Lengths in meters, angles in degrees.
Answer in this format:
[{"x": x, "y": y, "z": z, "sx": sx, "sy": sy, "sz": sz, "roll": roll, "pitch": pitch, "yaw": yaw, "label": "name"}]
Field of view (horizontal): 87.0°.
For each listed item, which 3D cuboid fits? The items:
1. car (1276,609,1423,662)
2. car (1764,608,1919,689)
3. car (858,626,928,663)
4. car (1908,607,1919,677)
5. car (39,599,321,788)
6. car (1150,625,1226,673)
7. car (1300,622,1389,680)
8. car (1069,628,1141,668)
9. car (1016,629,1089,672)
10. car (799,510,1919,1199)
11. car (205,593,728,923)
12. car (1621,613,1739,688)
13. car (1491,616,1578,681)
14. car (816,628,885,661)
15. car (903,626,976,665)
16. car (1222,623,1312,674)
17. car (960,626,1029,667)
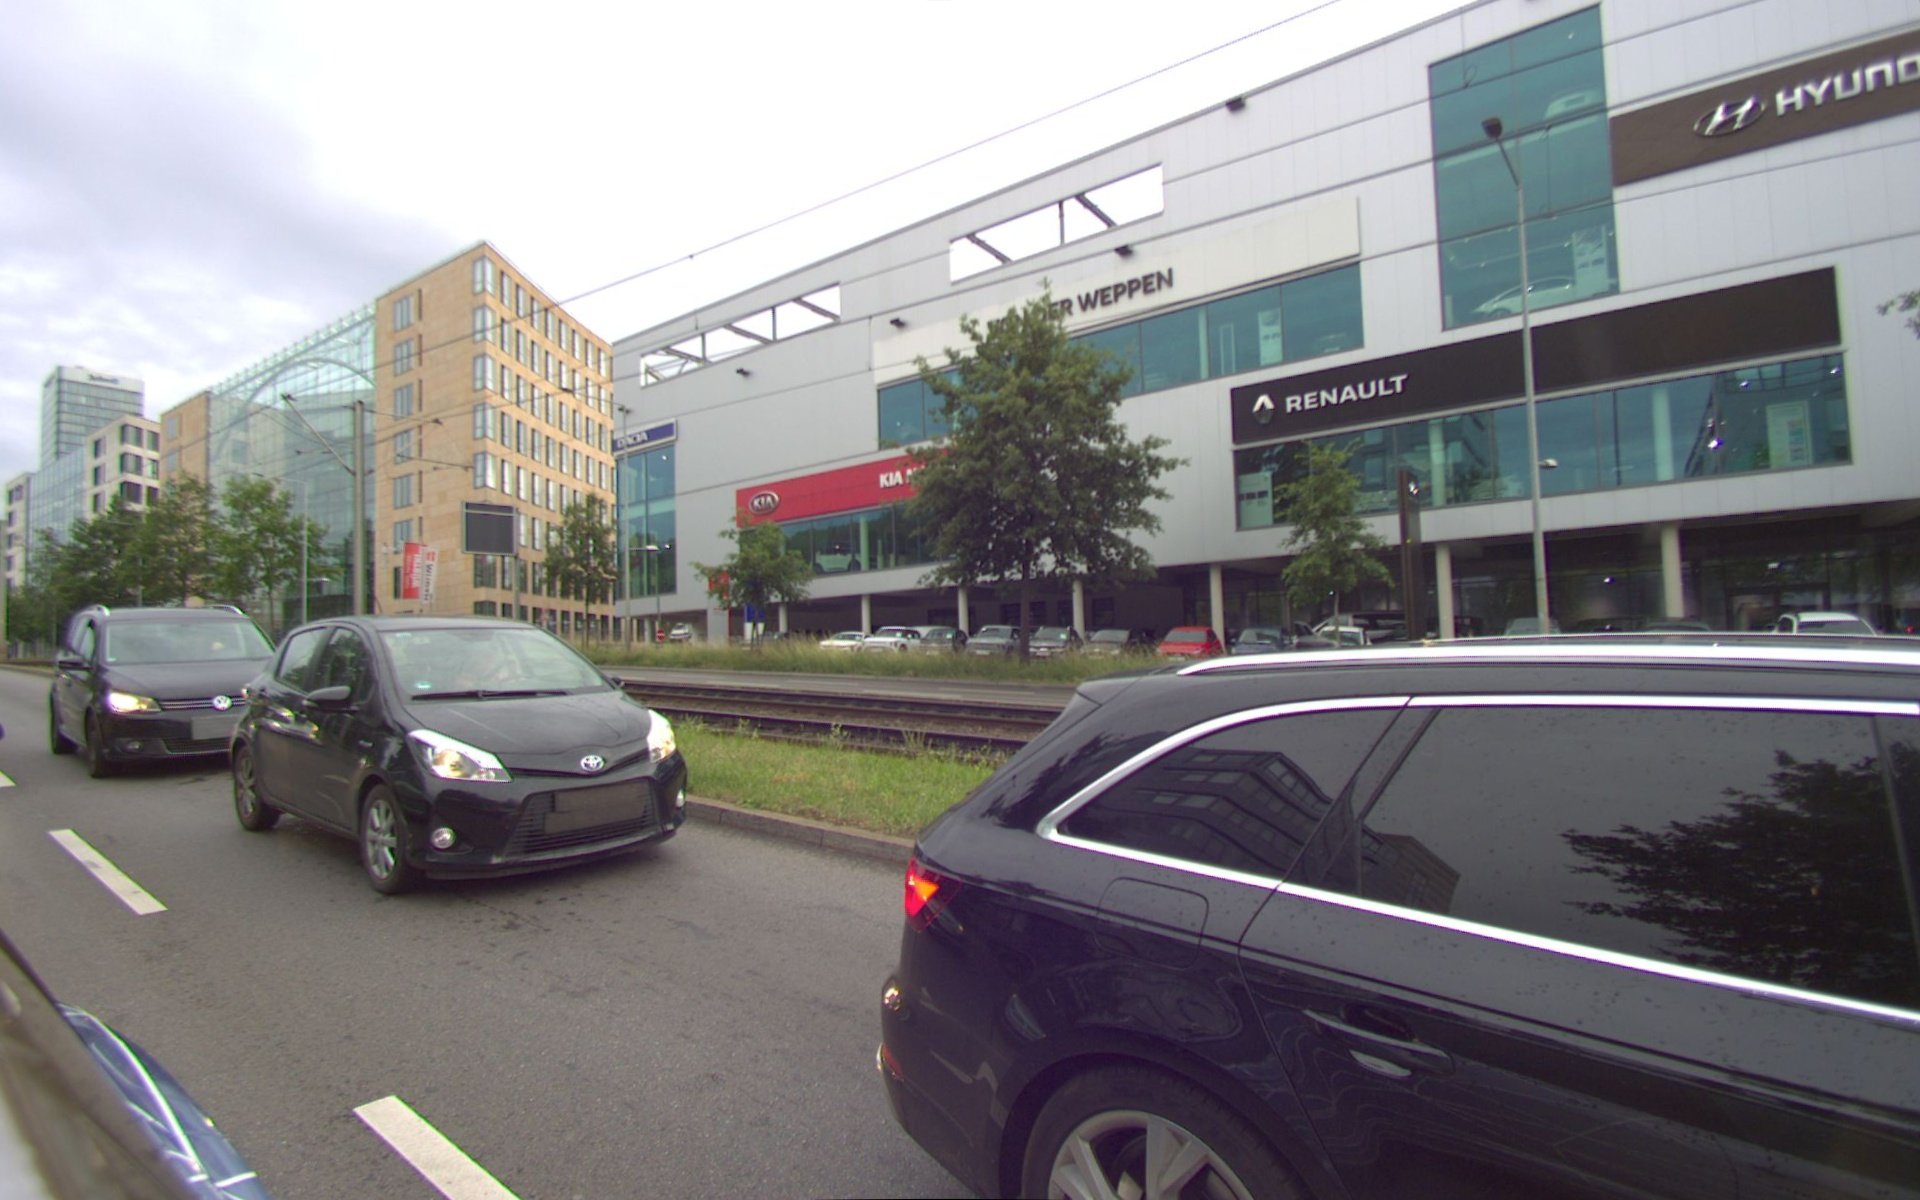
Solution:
[{"x": 13.964, "y": 1.264, "z": 36.489, "sx": 4.488, "sy": 1.796, "sz": 1.997, "roll": -1, "pitch": -1, "yaw": 5, "label": "car"}, {"x": 20.604, "y": 1.059, "z": 23.801, "sx": 1.992, "sy": 1.562, "sz": 4.331, "roll": -1, "pitch": 1, "yaw": 30, "label": "car"}, {"x": -2.788, "y": 1.878, "z": 42.952, "sx": 1.685, "sy": 1.304, "sz": 3.643, "roll": -2, "pitch": 1, "yaw": 18, "label": "car"}, {"x": 22.828, "y": 1.020, "z": 22.216, "sx": 1.992, "sy": 1.627, "sz": 4.331, "roll": -1, "pitch": 1, "yaw": 30, "label": "car"}, {"x": -8.470, "y": 0.852, "z": 10.838, "sx": 4.318, "sy": 1.619, "sz": 1.762, "roll": -2, "pitch": -1, "yaw": 44, "label": "car"}, {"x": 7.821, "y": 1.625, "z": 34.437, "sx": 1.789, "sy": 1.362, "sz": 3.903, "roll": -2, "pitch": 1, "yaw": 24, "label": "car"}, {"x": 11.958, "y": 1.525, "z": 31.337, "sx": 1.914, "sy": 1.470, "sz": 4.005, "roll": -1, "pitch": 1, "yaw": 30, "label": "car"}, {"x": 5.253, "y": 1.695, "z": 36.314, "sx": 1.688, "sy": 1.190, "sz": 3.498, "roll": -2, "pitch": 1, "yaw": 24, "label": "car"}, {"x": 3.505, "y": 1.846, "z": 37.774, "sx": 1.688, "sy": 1.362, "sz": 3.498, "roll": -2, "pitch": 1, "yaw": 24, "label": "car"}, {"x": 1.909, "y": 0.639, "z": 1.474, "sx": 4.511, "sy": 1.478, "sz": 1.762, "roll": -2, "pitch": -2, "yaw": 41, "label": "car"}, {"x": -3.382, "y": 0.780, "z": 6.630, "sx": 3.823, "sy": 1.544, "sz": 1.683, "roll": -1, "pitch": -1, "yaw": 40, "label": "car"}, {"x": 18.065, "y": 1.206, "z": 25.576, "sx": 1.992, "sy": 1.562, "sz": 4.331, "roll": -1, "pitch": 1, "yaw": 30, "label": "car"}, {"x": 15.865, "y": 1.282, "z": 27.962, "sx": 1.925, "sy": 1.470, "sz": 3.981, "roll": -1, "pitch": 1, "yaw": 30, "label": "car"}, {"x": -4.778, "y": 1.948, "z": 44.629, "sx": 1.685, "sy": 1.196, "sz": 3.643, "roll": -2, "pitch": 1, "yaw": 18, "label": "car"}, {"x": -0.780, "y": 1.822, "z": 41.022, "sx": 1.688, "sy": 1.362, "sz": 3.499, "roll": -2, "pitch": 1, "yaw": 23, "label": "car"}, {"x": 10.084, "y": 1.550, "z": 33.033, "sx": 1.914, "sy": 1.362, "sz": 4.005, "roll": -1, "pitch": 1, "yaw": 30, "label": "car"}, {"x": 1.399, "y": 1.802, "z": 39.698, "sx": 1.686, "sy": 1.362, "sz": 3.503, "roll": -2, "pitch": 1, "yaw": 20, "label": "car"}]
